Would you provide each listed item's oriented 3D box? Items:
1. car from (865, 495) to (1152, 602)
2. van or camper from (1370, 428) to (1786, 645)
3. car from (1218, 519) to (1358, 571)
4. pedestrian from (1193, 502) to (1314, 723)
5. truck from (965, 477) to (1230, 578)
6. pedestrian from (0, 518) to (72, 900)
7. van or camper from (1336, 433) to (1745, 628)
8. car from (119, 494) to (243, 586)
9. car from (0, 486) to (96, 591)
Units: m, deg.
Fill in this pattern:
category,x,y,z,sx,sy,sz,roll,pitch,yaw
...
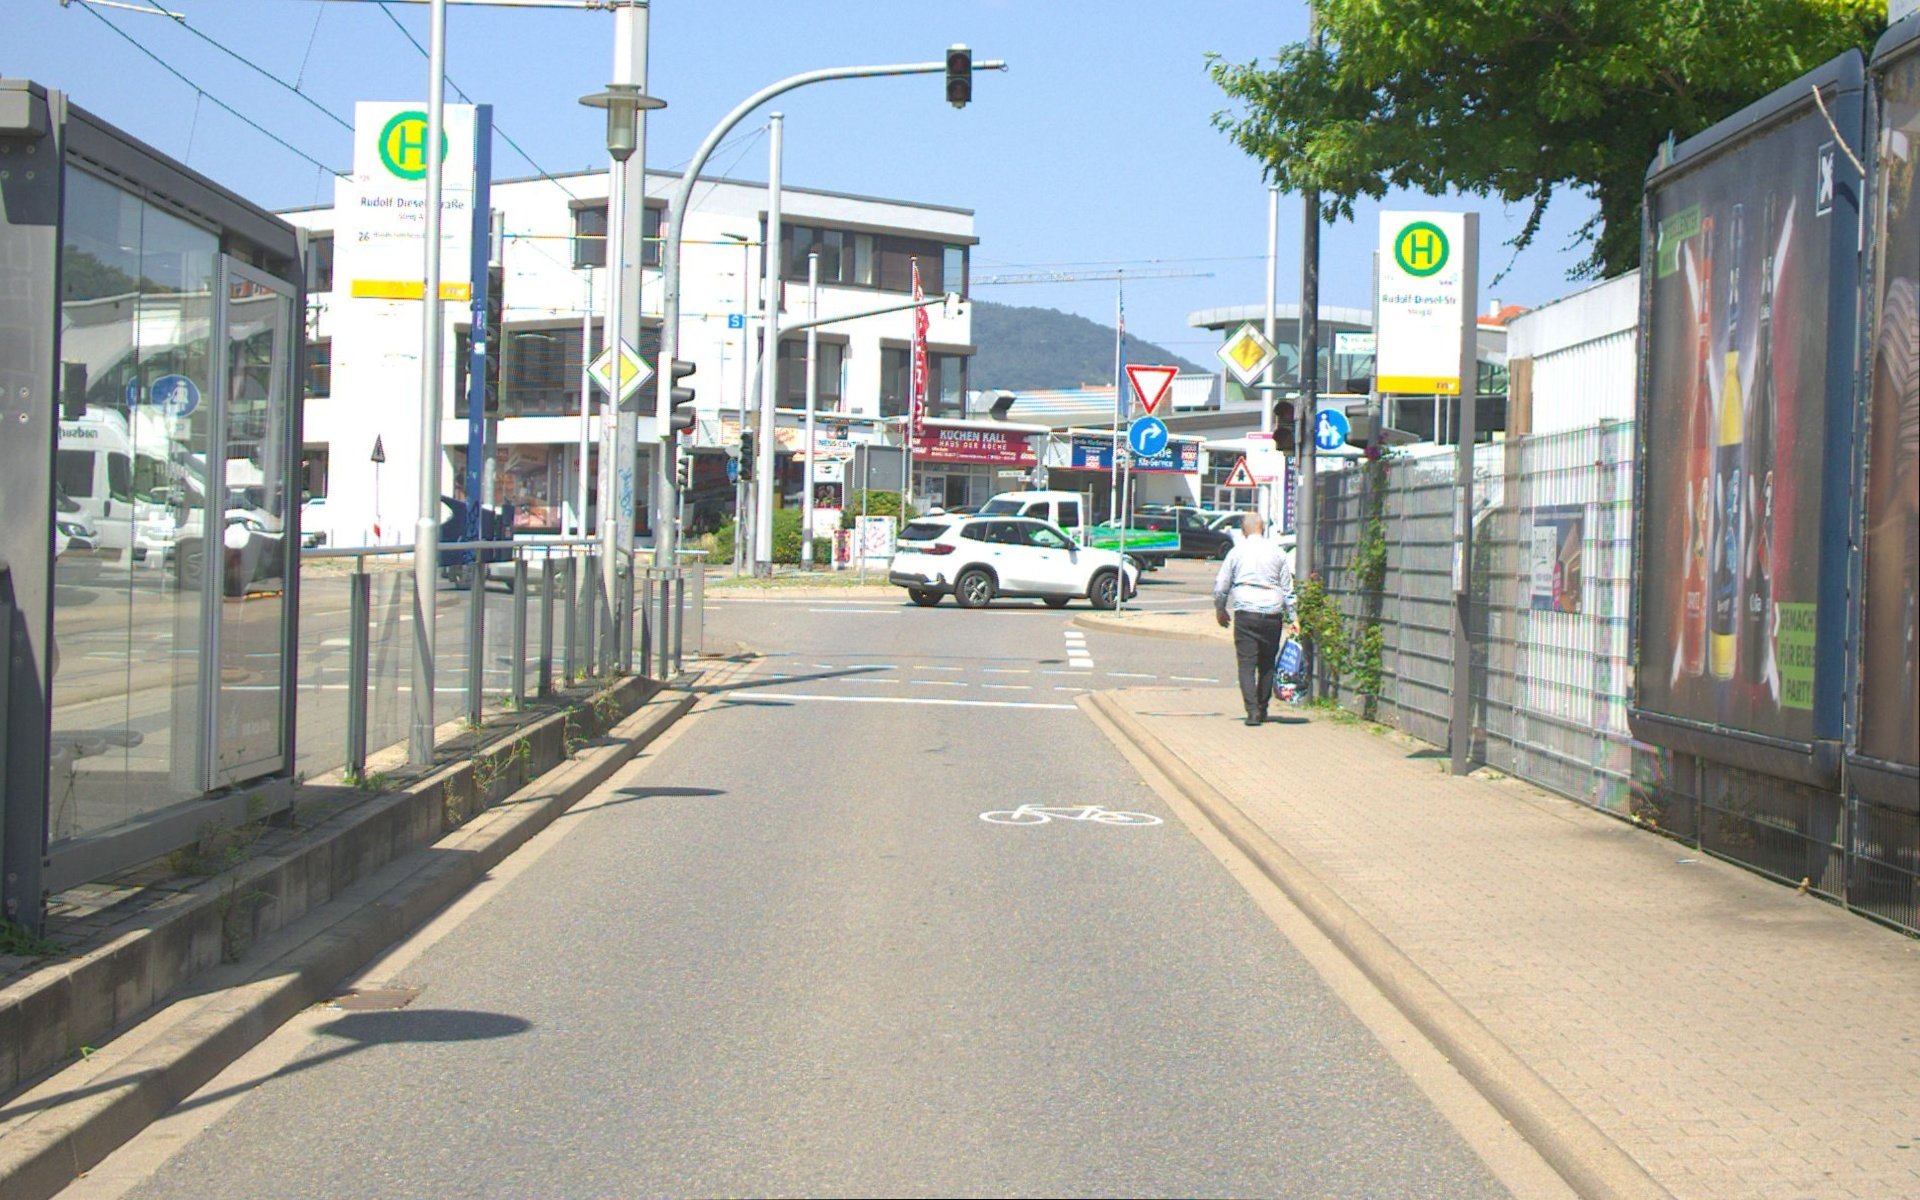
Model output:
category,x,y,z,sx,sy,sz,roll,pitch,yaw
car,0.857,-0.884,59.783,4.548,1.727,2.000,1,1,-29
van or camper,8.682,-0.939,48.743,5.507,2.804,2.048,2,3,4
car,10.585,-1.753,110.833,1.885,1.583,4.915,0,0,43
pedestrian,2.295,0.088,26.972,0.812,1.693,0.887,1,1,-2
truck,3.477,-1.807,86.188,6.368,2.329,2.210,1,1,-30
pedestrian,-3.243,0.293,10.302,0.943,1.095,0.726,3,2,-1
van or camper,8.673,-1.068,51.825,5.811,2.764,2.091,1,2,3
car,-18.408,-1.390,81.469,2.162,2.007,5.019,2,0,-5
car,-14.936,-0.934,50.591,1.804,1.531,4.154,2,1,33
